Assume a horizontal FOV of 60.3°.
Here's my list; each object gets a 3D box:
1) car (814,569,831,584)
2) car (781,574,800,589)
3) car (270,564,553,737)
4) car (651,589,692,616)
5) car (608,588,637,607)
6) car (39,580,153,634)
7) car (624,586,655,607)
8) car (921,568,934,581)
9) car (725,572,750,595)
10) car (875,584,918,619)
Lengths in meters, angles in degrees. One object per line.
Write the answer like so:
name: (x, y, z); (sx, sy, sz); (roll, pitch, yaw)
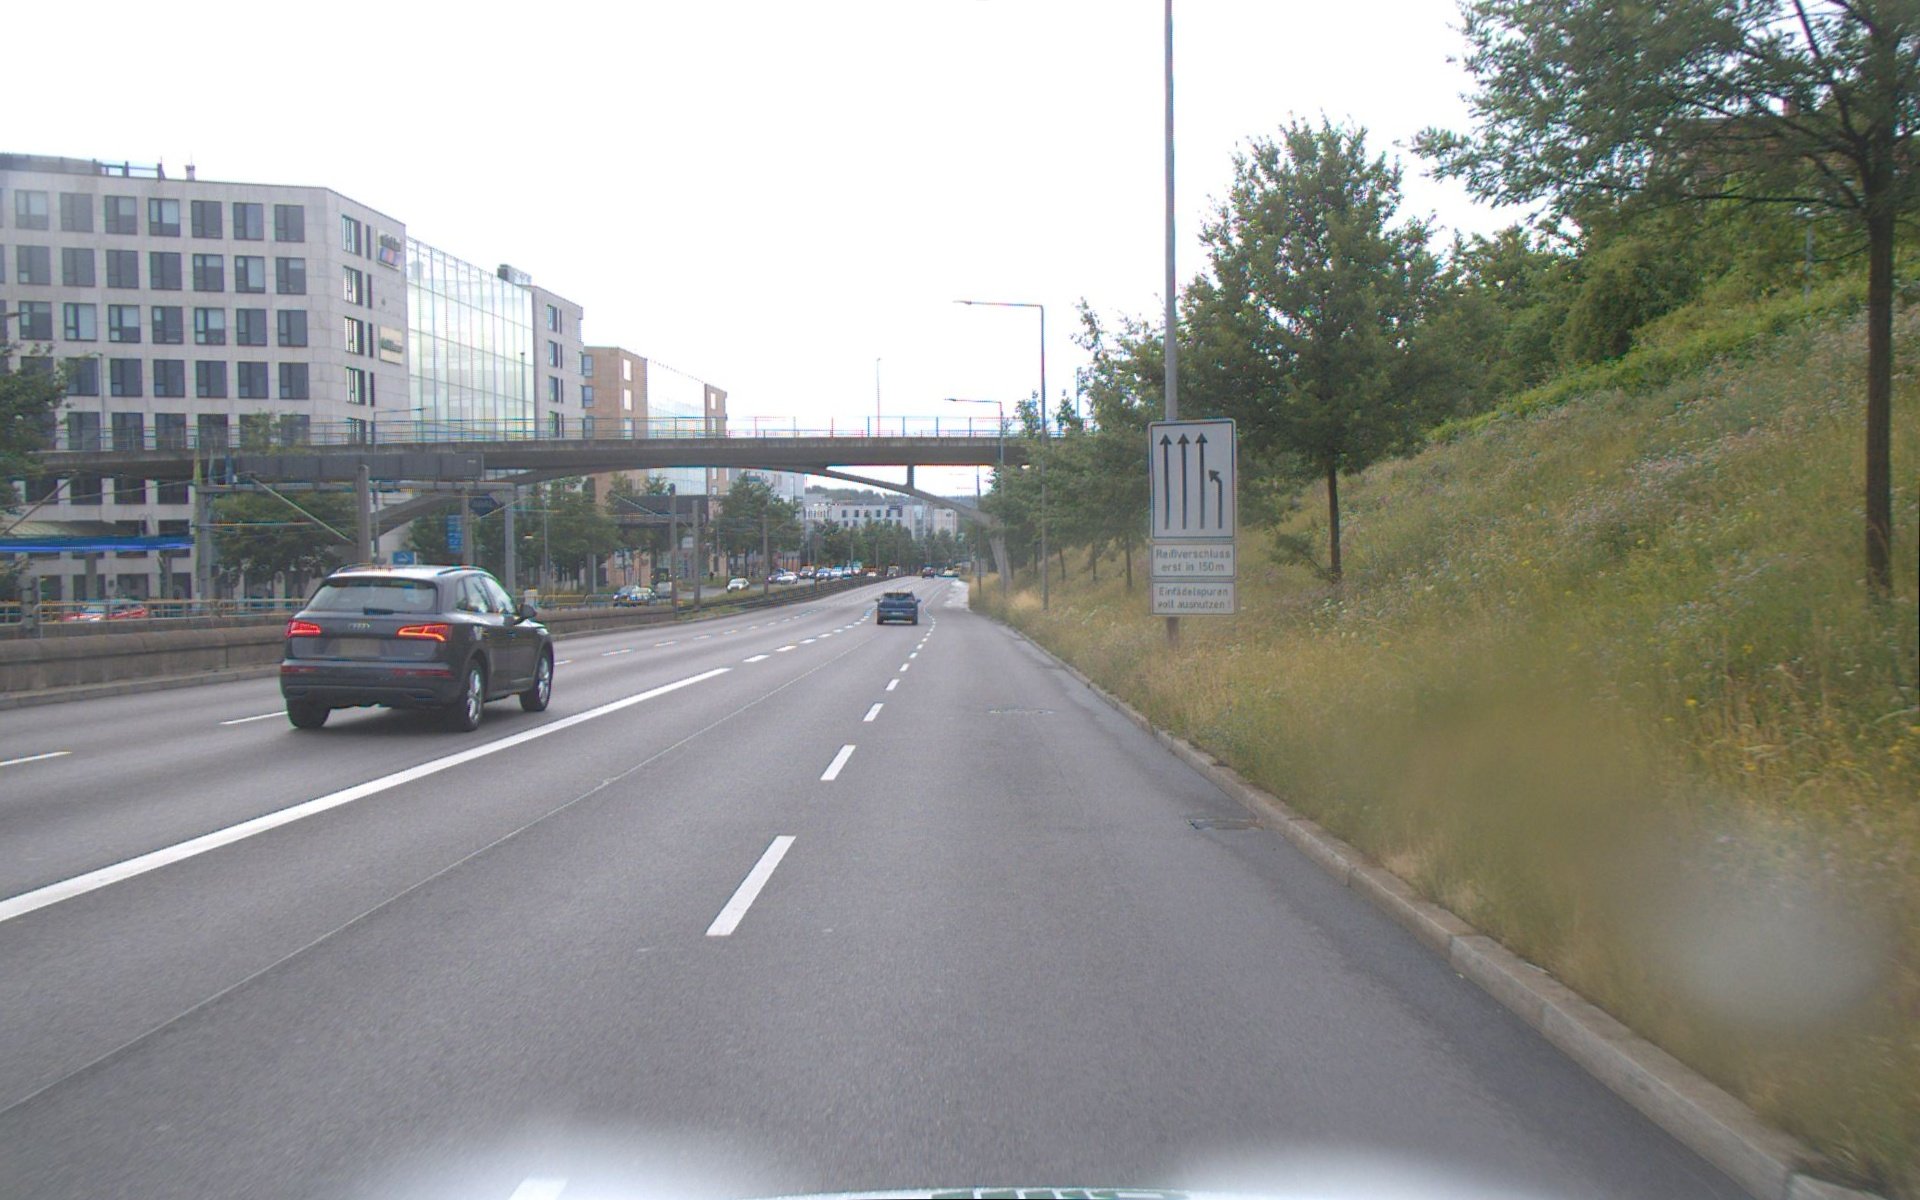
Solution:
car: (-18.931, -3.265, 227.818); (1.952, 2.049, 4.001); (0, 1, 1)
car: (-22.452, -2.450, 218.821); (1.952, 1.765, 4.250); (1, 3, 1)
car: (-5.807, 0.472, 18.132); (1.716, 1.645, 4.746); (0, 0, -3)
car: (-16.074, 0.132, 92.305); (1.713, 1.445, 3.478); (1, 0, 0)
car: (-25.848, -0.200, 126.666); (1.486, 1.445, 3.478); (0, 1, 0)
car: (-30.641, 0.211, 58.771); (1.953, 1.808, 4.101); (1, 0, -2)
car: (-22.717, -0.246, 117.243); (1.486, 1.445, 3.478); (0, 1, 0)
car: (-5.041, -3.920, 256.435); (1.826, 1.780, 3.999); (1, 3, -4)
car: (-22.033, -1.686, 164.008); (1.953, 2.048, 4.000); (1, 3, -1)
car: (-2.700, 0.038, 70.885); (1.713, 1.445, 3.478); (0, 1, 0)
